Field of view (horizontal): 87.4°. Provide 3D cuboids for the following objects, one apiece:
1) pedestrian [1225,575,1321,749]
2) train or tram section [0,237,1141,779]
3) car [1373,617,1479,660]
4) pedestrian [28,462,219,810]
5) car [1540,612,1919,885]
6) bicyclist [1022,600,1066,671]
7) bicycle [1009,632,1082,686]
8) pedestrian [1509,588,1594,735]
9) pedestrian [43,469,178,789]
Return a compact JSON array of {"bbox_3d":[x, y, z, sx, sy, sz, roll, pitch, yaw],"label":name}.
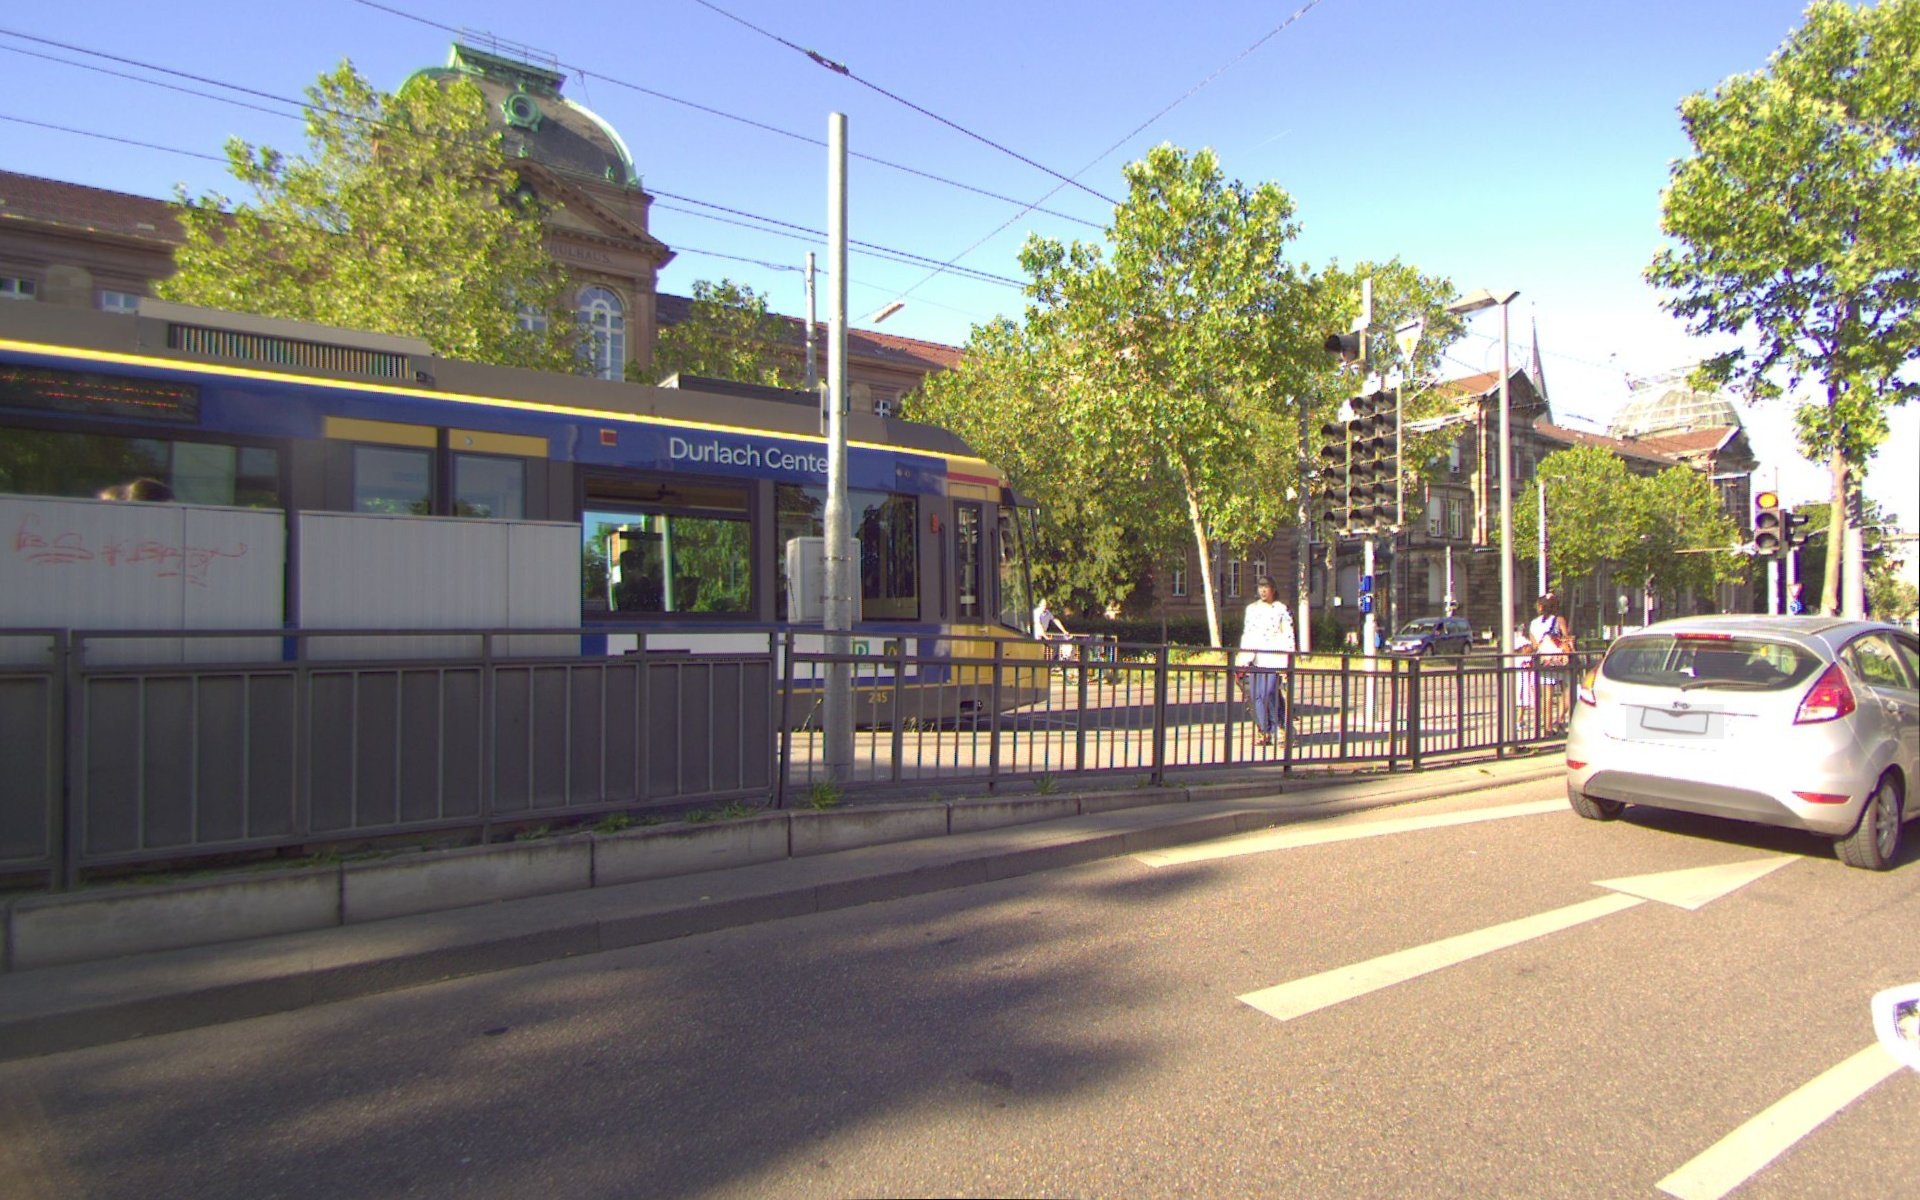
[{"bbox_3d":[3.084,0.606,9.905,0.635,1.640,0.635,4,-3,-37],"label":"pedestrian"},{"bbox_3d":[-4.141,-0.483,9.048,12.978,3.303,2.896,2,0,-34],"label":"train or tram section"},{"bbox_3d":[18.699,1.511,40.300,3.953,1.646,1.984,1,-1,-30],"label":"car"},{"bbox_3d":[-4.502,0.188,5.459,0.740,1.724,0.628,1,-2,-37],"label":"pedestrian"},{"bbox_3d":[5.848,0.835,7.011,3.592,1.428,1.651,1,0,-32],"label":"car"},{"bbox_3d":[1.694,0.709,20.336,0.643,1.404,0.561,2,0,-34],"label":"bicyclist"},{"bbox_3d":[1.716,1.178,20.412,0.644,0.976,1.553,2,0,-33],"label":"bicycle"},{"bbox_3d":[6.603,0.671,11.219,0.641,1.577,0.626,1,-1,-38],"label":"pedestrian"},{"bbox_3d":[-4.895,0.163,5.823,0.541,1.724,0.604,1,-2,-37],"label":"pedestrian"}]
